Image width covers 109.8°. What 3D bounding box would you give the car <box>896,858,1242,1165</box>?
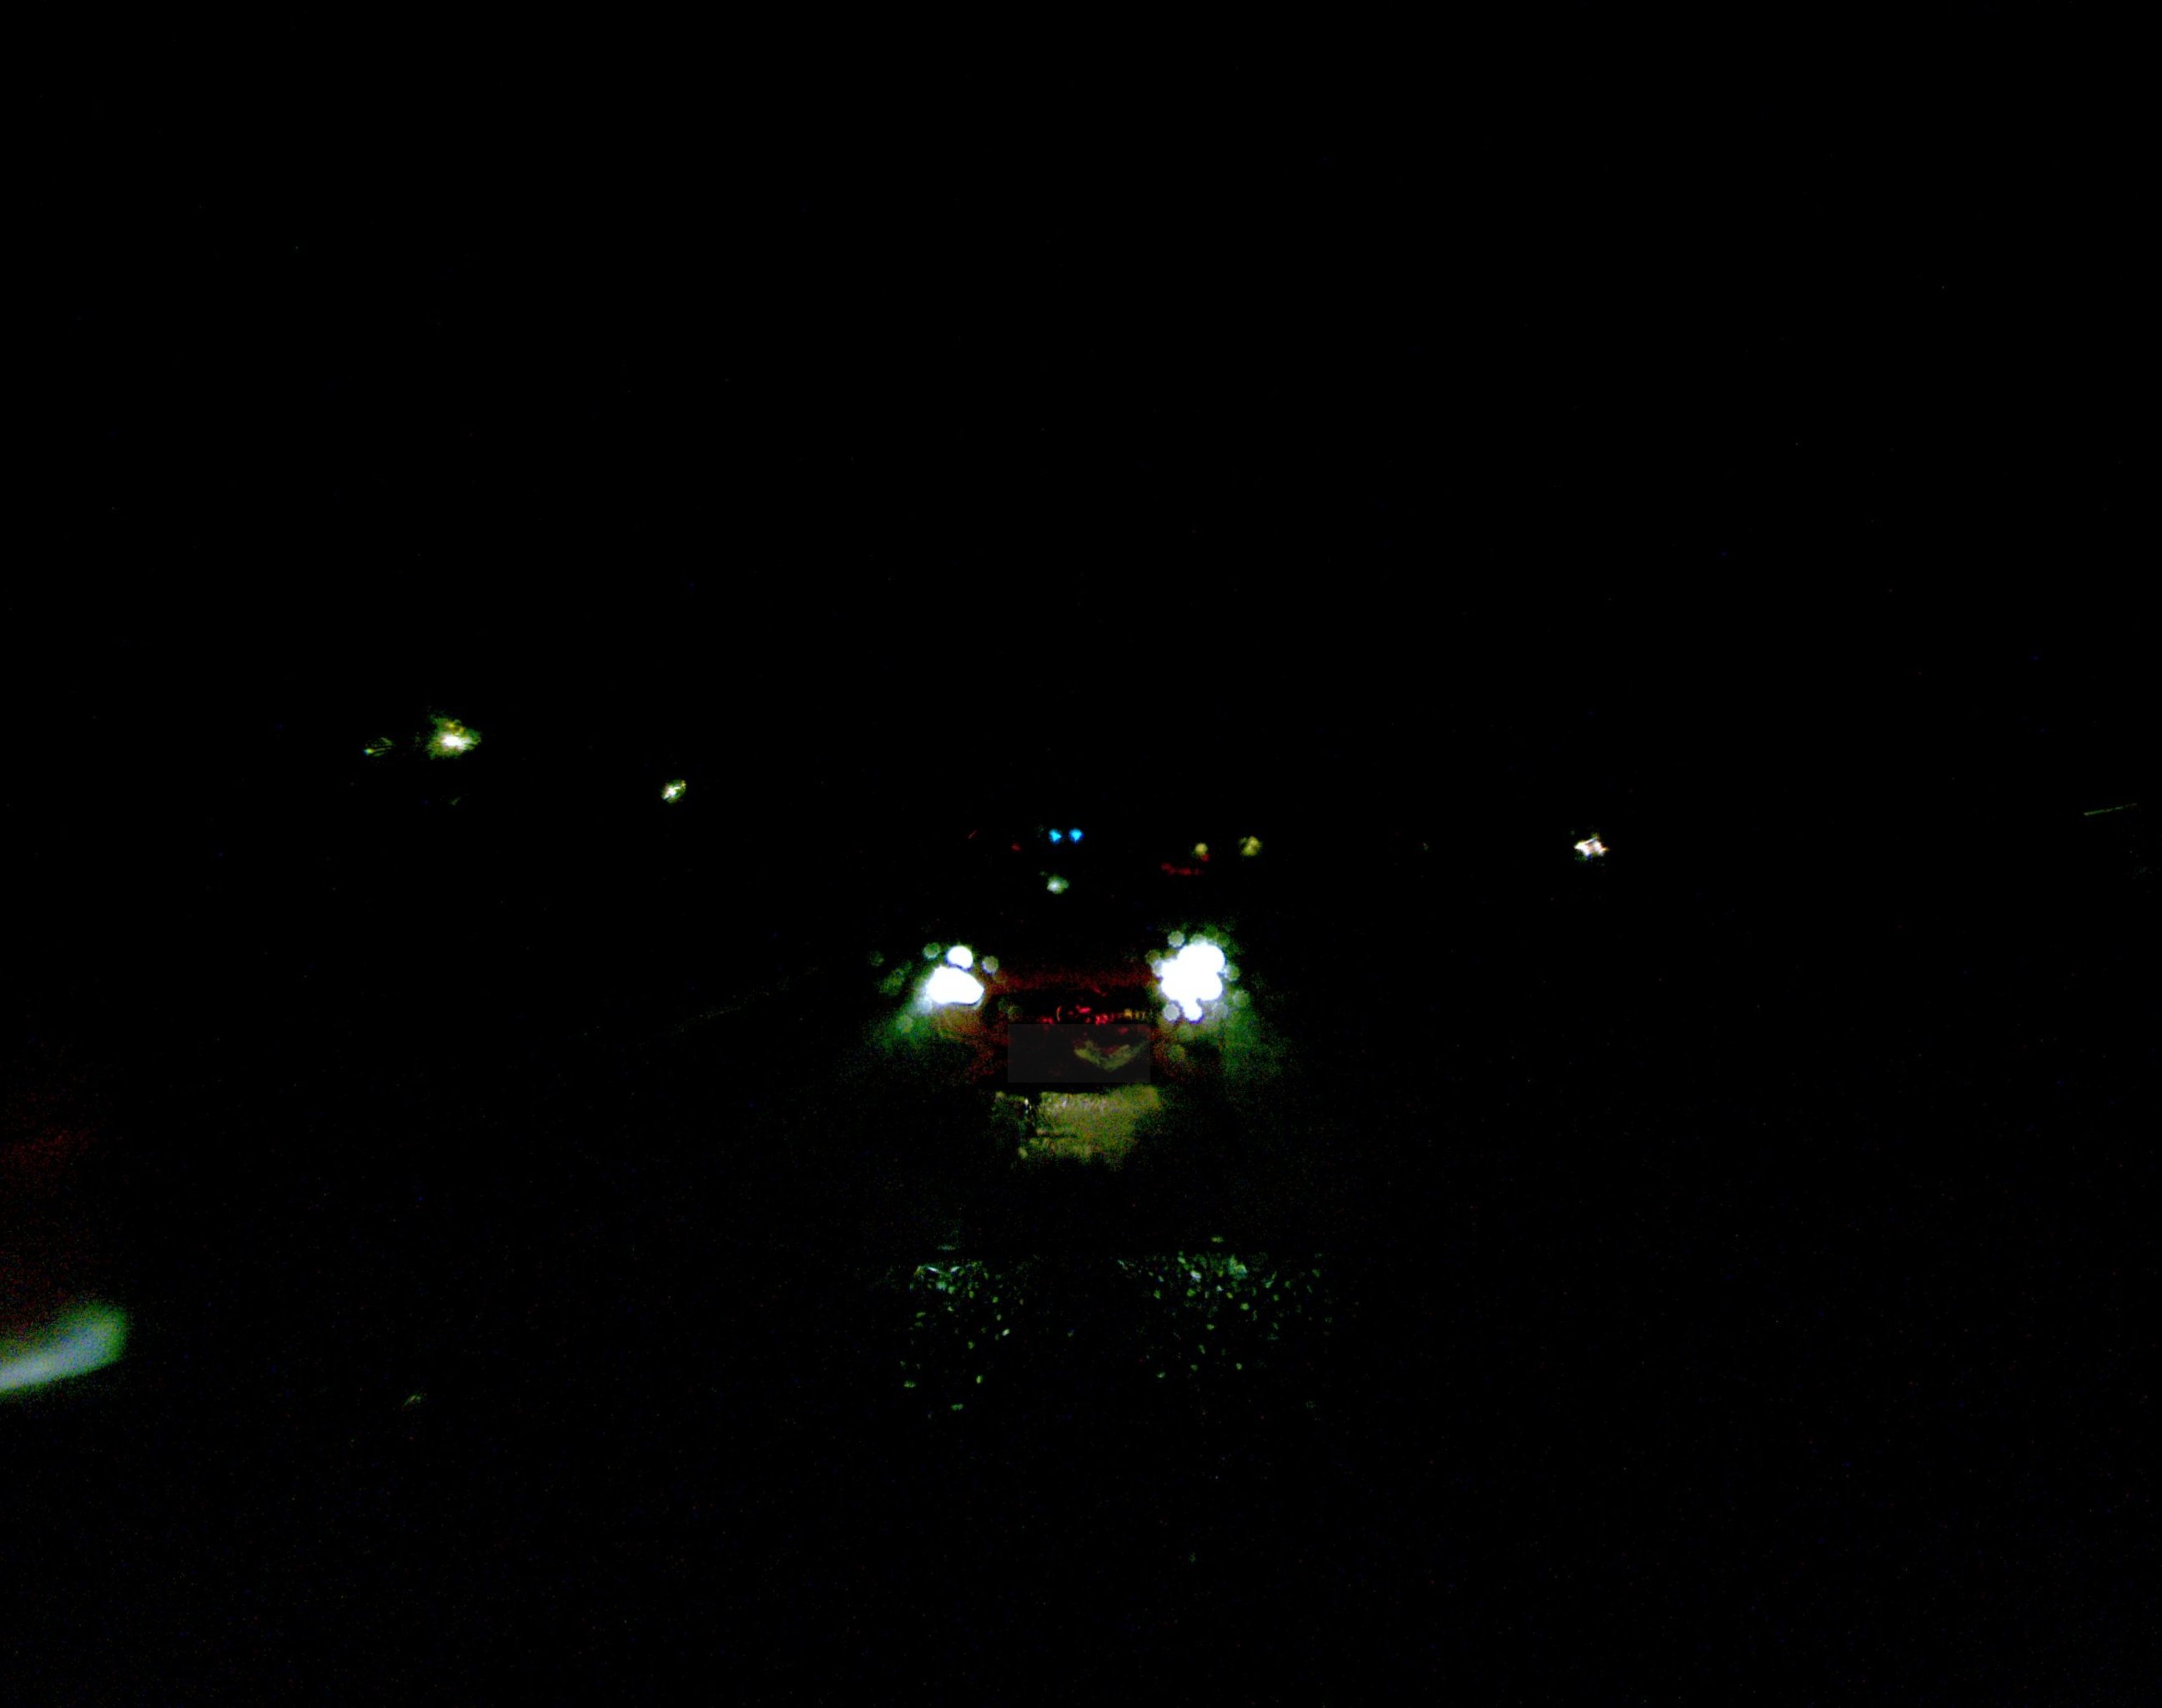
[{"bbox_3d":[-0.074,0.847,6.419,1.810,1.590,4.786,-1,0,0],"label":"car"}]

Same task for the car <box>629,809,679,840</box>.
[{"bbox_3d":[-24.514,-1.650,43.769,1.619,1.630,3.994,-2,1,-16],"label":"car"}]

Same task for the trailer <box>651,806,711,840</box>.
[{"bbox_3d":[-26.683,-2.027,50.927,2.234,2.060,5.713,-1,0,-14],"label":"trailer"}]

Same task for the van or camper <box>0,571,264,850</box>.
[{"bbox_3d":[-12.915,-1.539,8.354,2.591,2.891,6.348,-1,0,-19],"label":"van or camper"}]

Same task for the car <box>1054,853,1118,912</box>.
[{"bbox_3d":[0.076,0.758,21.385,1.625,1.477,3.785,-1,-1,-2],"label":"car"}]

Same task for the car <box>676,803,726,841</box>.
[{"bbox_3d":[-28.057,-2.311,56.349,2.122,2.620,5.443,-1,1,-14],"label":"car"}]
